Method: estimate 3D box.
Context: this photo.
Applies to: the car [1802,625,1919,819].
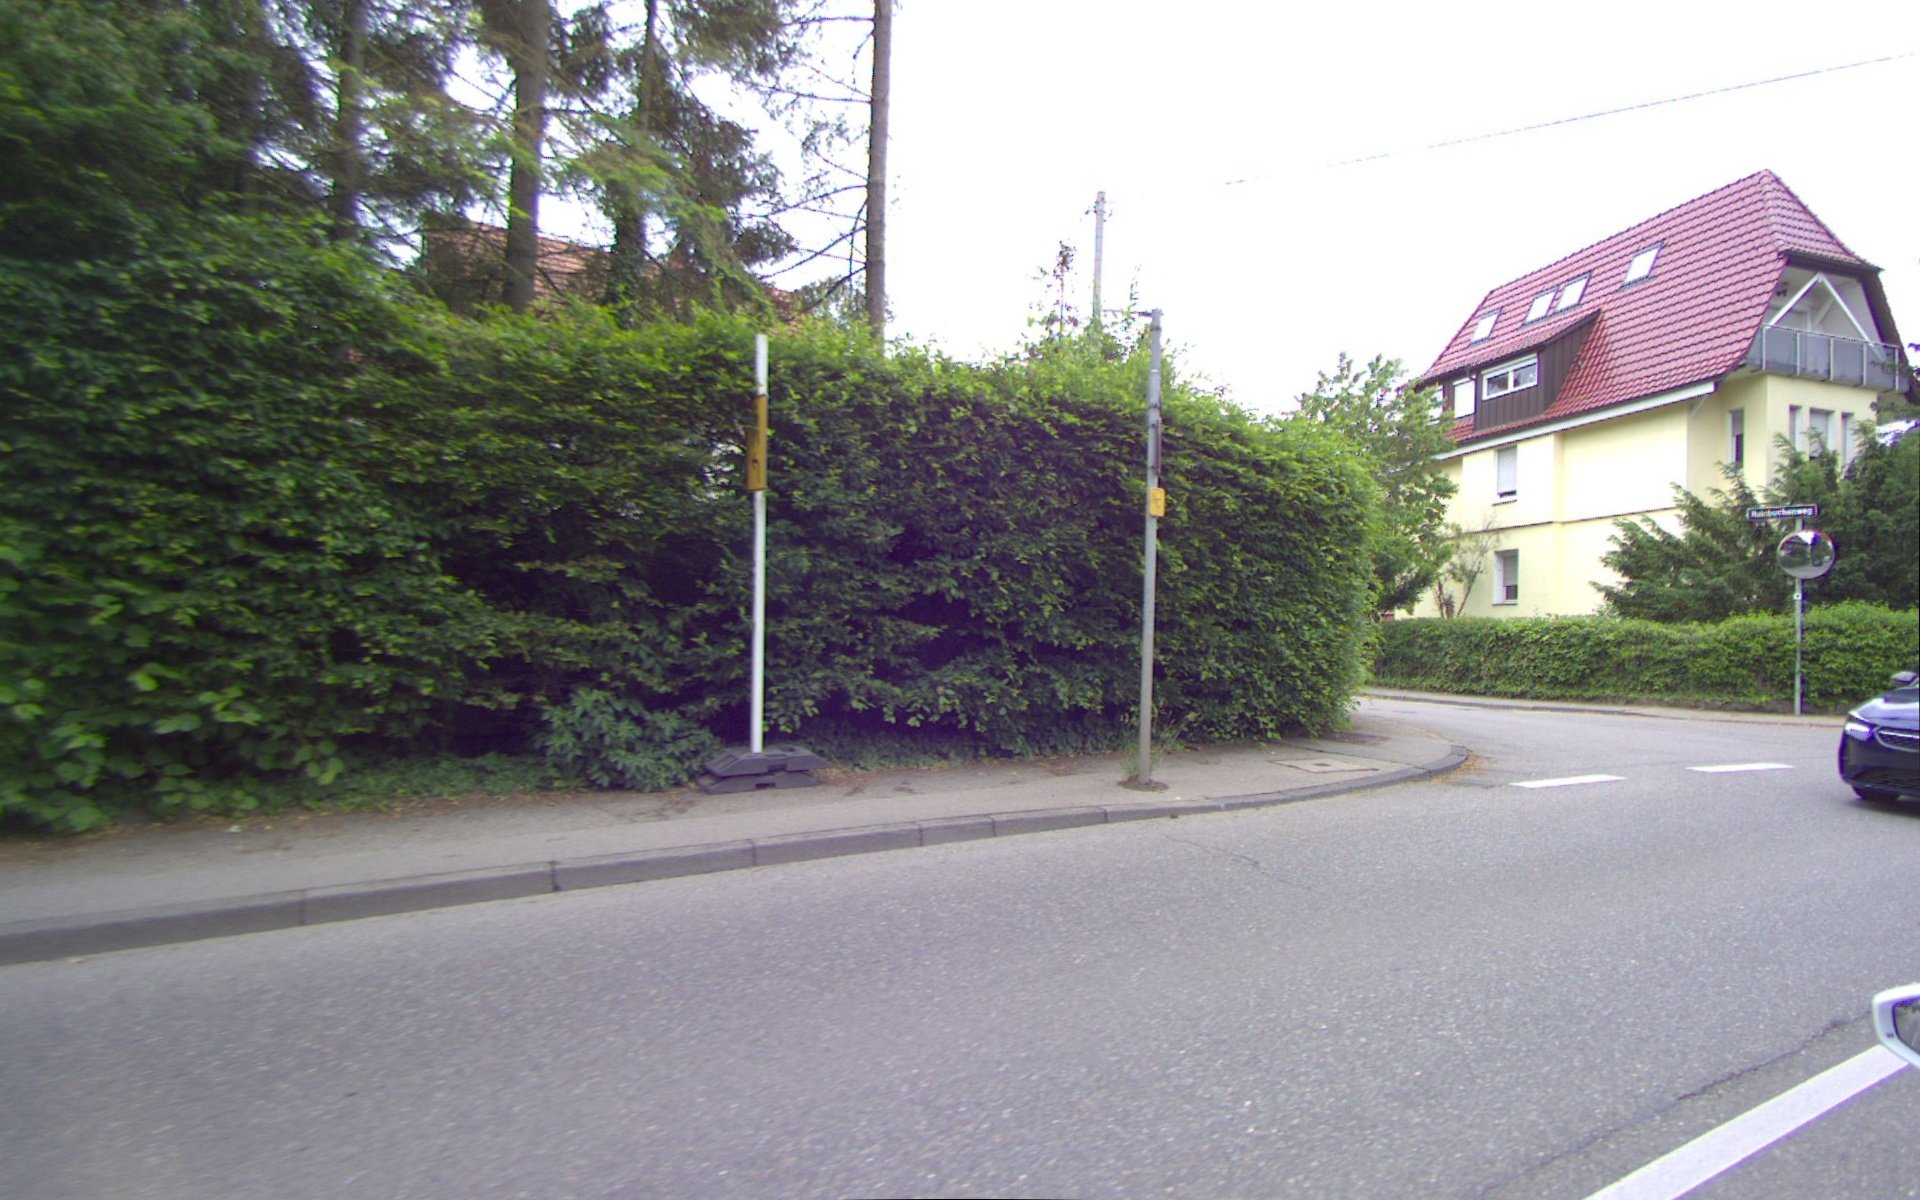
[{"bbox_3d":[9.146,0.955,8.321,4.036,1.458,1.752,1,-1,-24],"label":"car"}]
